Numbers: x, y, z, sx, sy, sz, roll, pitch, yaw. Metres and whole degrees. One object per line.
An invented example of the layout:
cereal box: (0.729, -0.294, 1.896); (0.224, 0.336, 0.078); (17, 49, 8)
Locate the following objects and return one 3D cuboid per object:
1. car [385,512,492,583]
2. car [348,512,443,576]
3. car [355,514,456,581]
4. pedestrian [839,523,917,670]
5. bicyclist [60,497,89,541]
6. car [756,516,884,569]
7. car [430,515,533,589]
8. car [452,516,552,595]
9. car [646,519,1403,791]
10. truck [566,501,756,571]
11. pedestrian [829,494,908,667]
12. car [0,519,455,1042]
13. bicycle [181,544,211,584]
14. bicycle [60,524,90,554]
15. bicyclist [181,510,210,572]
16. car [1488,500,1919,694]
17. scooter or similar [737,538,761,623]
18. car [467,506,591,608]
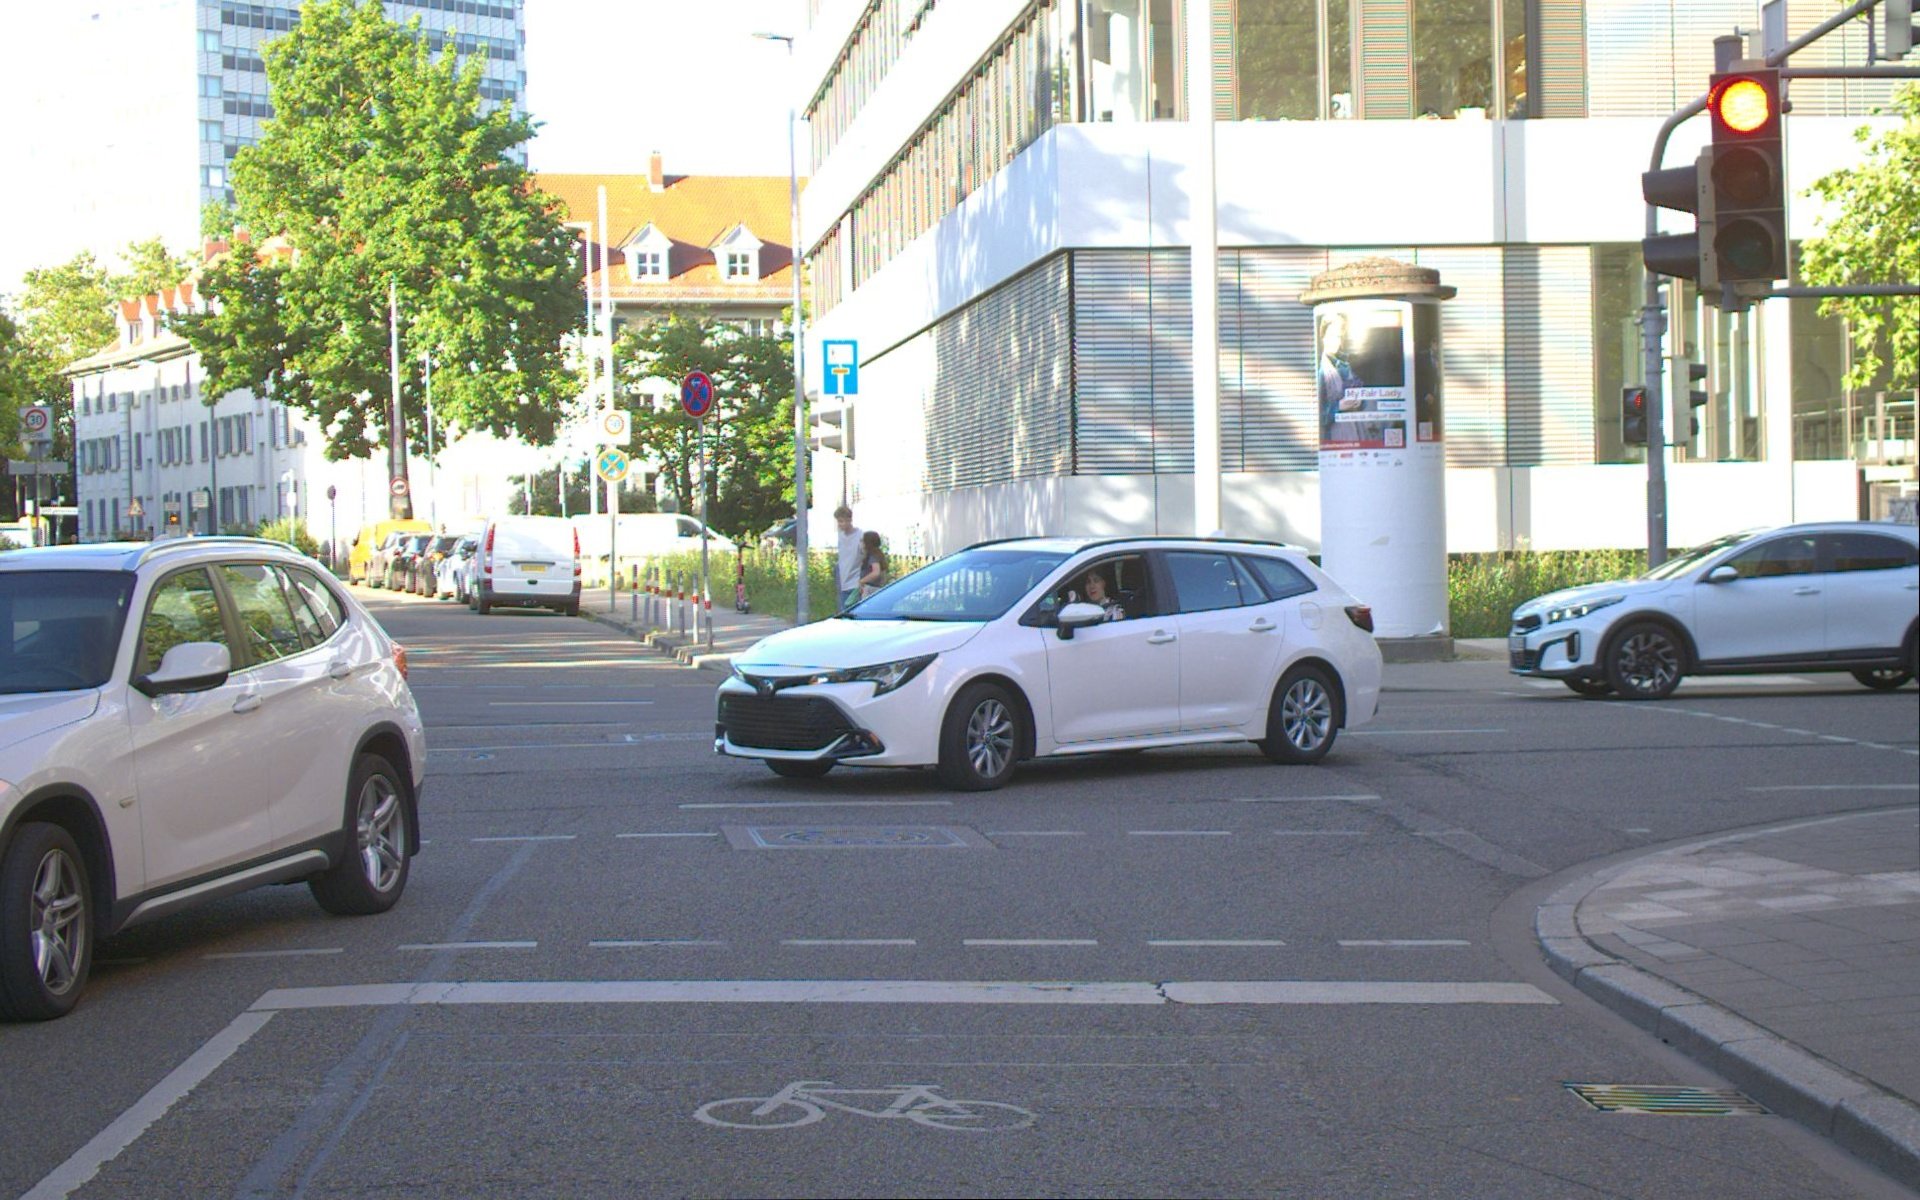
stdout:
car: (-13.006, -1.336, 85.564); (1.888, 1.650, 4.417); (-1, 2, -19)
car: (-15.702, -1.578, 95.498); (1.888, 1.650, 4.417); (-1, 2, -19)
car: (-14.648, -1.417, 90.661); (1.888, 1.650, 4.417); (-1, 2, -19)
pedestrian: (-0.890, -0.047, 37.207); (0.559, 1.535, 0.677); (-5, 2, -18)
bicyclist: (-31.799, -2.917, 123.426); (0.865, 1.510, 1.019); (-4, 1, -11)
car: (-4.255, -1.745, 104.242); (3.554, 1.541, 1.559); (-1, 1, -19)
car: (-10.923, -1.119, 78.316); (1.888, 1.550, 4.417); (-1, 2, -13)
car: (-9.749, -0.973, 72.946); (1.888, 1.550, 4.417); (-1, 2, -10)
car: (0.485, 0.261, 20.939); (4.532, 1.471, 1.892); (-1, 1, -42)
truck: (-8.970, -1.925, 103.053); (5.336, 2.007, 2.001); (-1, 1, -19)
pedestrian: (-1.006, -0.218, 37.810); (0.560, 1.844, 0.677); (-3, 2, 16)
car: (-3.457, 0.565, 12.492); (1.686, 1.577, 4.272); (-3, 1, 13)
bicycle: (-19.082, -0.899, 85.874); (0.615, 0.966, 1.842); (-2, 1, -9)
bicycle: (-31.762, -2.189, 123.424); (0.865, 1.006, 2.415); (-4, 1, -11)
bicyclist: (-19.096, -1.483, 85.875); (0.615, 1.527, 0.903); (-2, 1, -9)
car: (6.922, -0.056, 29.798); (4.319, 1.570, 1.824); (-1, 1, -4)
scooter or similar: (-3.593, -0.333, 58.574); (0.330, 1.419, 1.335); (1, 0, -6)
car: (-8.147, -0.847, 64.723); (2.084, 1.789, 4.417); (-1, 2, -10)
